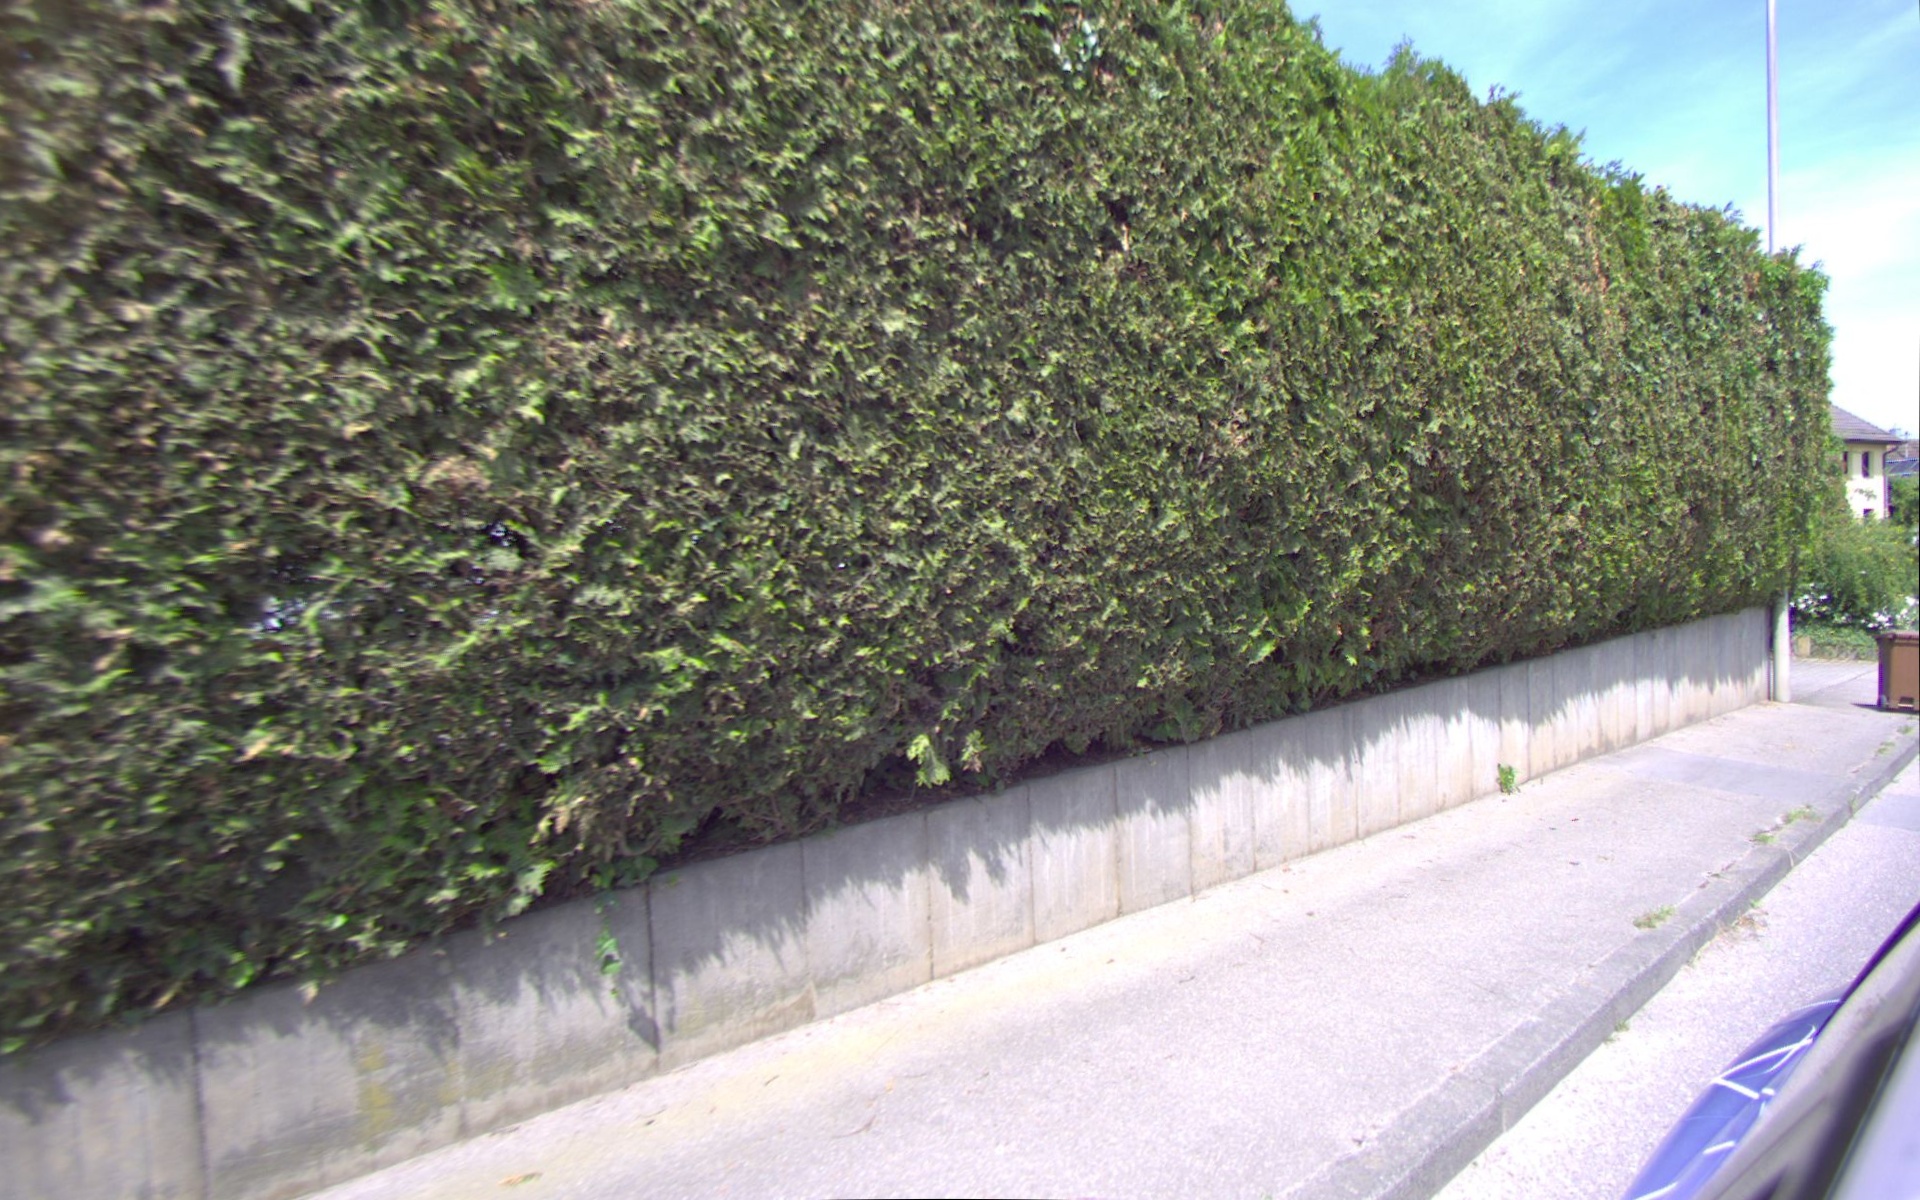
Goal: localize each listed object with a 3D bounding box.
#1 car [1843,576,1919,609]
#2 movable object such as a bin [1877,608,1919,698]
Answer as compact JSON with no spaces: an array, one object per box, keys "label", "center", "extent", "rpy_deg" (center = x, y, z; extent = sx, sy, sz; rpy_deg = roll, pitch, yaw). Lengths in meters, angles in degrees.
[{"label":"car","center":[42.667,-0.342,45.835],"extent":[1.610,1.436,3.700],"rpy_deg":[-1,0,-22]},{"label":"movable object such as a bin","center":[11.240,0.614,11.881],"extent":[0.772,0.989,0.589],"rpy_deg":[-1,3,-41]}]
